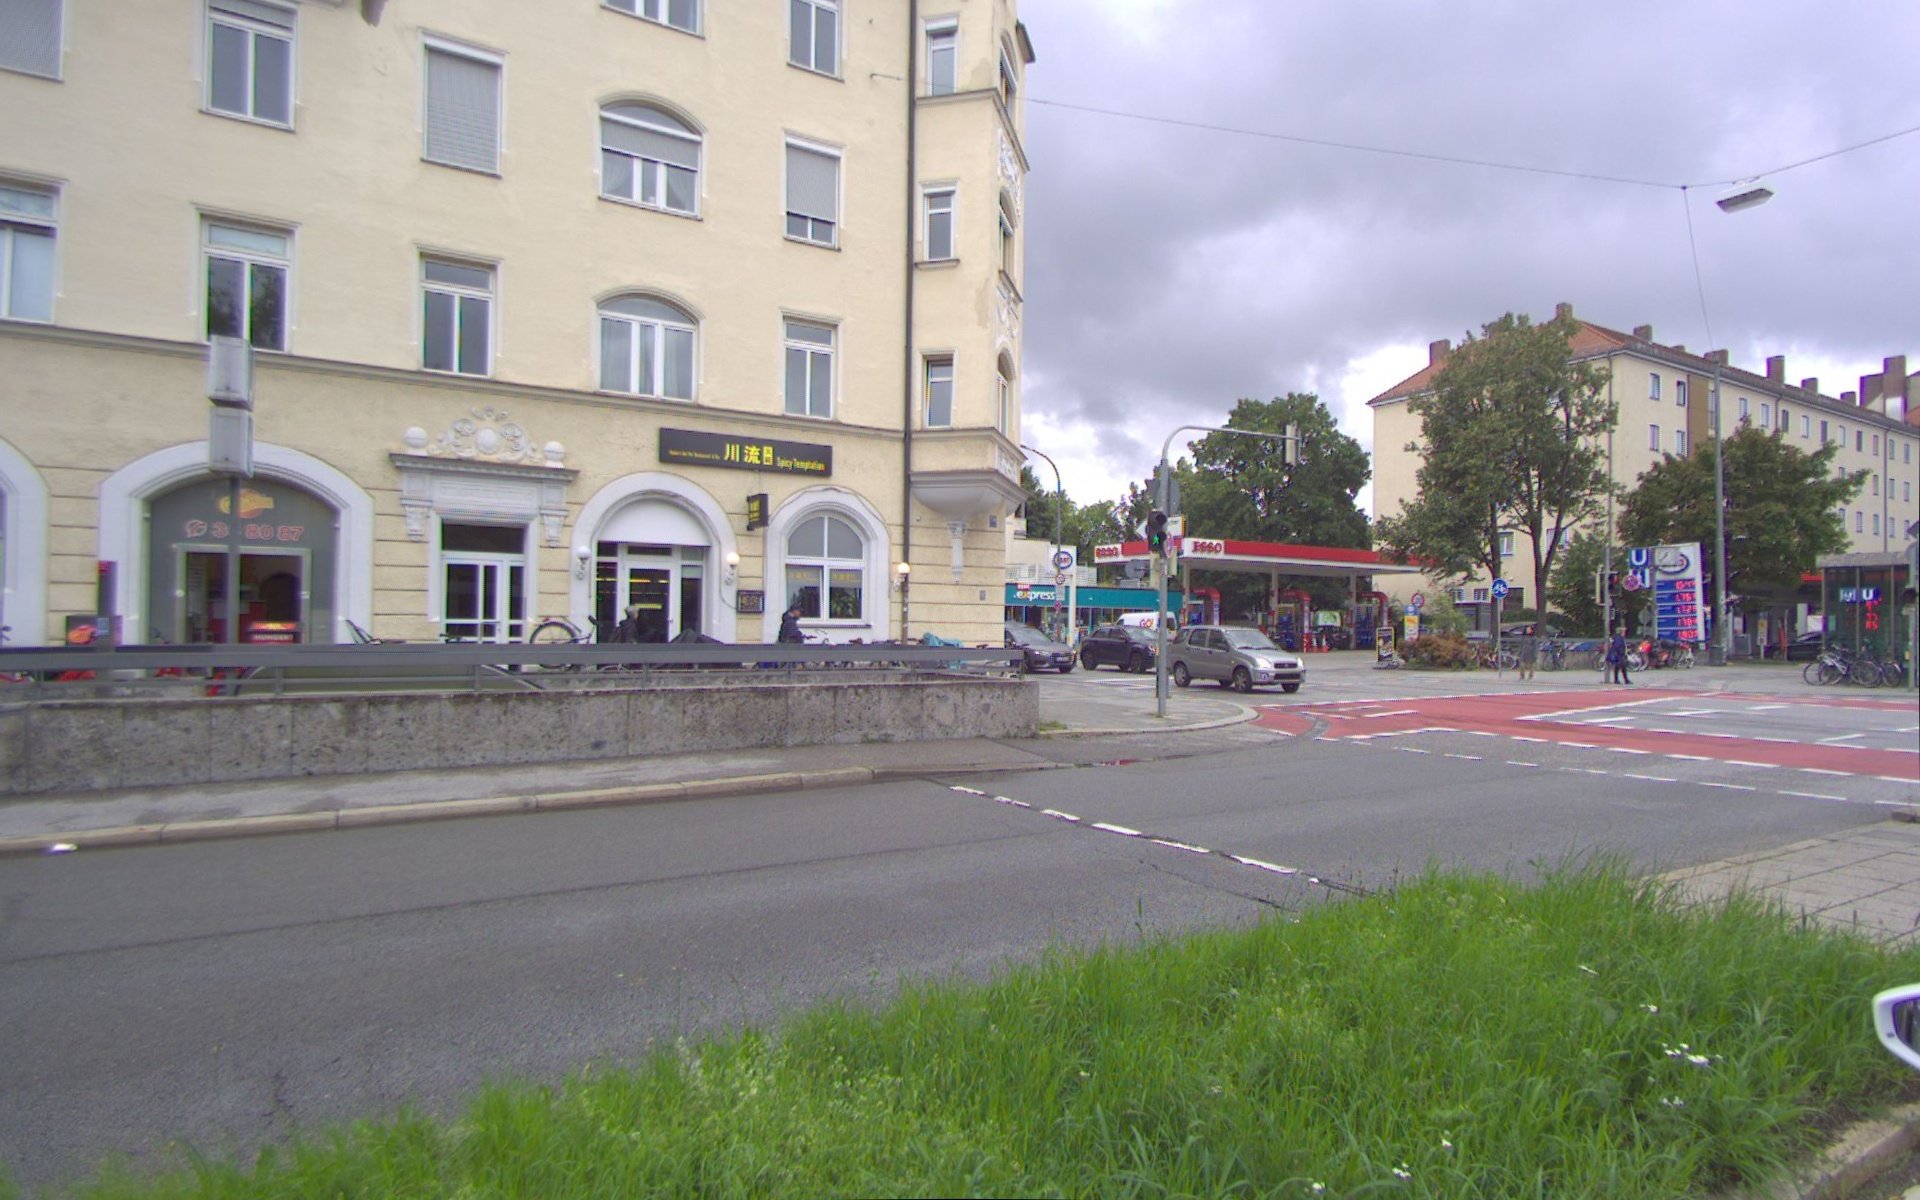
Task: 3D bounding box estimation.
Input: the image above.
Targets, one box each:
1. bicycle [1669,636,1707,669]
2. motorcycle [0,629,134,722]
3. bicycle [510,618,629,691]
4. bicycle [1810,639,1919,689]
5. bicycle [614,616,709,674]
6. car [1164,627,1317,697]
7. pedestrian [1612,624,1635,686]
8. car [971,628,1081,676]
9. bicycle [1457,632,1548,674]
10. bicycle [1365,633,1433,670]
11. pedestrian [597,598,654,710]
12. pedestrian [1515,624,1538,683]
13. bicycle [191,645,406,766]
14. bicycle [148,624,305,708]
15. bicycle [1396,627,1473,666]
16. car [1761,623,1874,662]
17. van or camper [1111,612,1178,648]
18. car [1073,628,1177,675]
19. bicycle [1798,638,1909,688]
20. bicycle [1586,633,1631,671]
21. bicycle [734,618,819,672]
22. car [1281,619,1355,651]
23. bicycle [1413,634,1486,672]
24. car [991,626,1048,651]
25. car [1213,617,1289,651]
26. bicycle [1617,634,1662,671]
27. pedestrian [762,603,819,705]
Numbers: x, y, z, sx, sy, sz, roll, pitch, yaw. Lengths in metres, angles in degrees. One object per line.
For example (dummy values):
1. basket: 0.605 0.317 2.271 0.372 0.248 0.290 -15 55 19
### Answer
1. bicycle: 26.811 1.925 36.971 1.947 1.160 0.603 1 -1 -37
2. motorcycle: -12.112 0.977 13.345 1.947 1.137 0.610 1 -1 10
3. bicycle: -5.561 0.768 14.324 1.527 0.993 0.470 1 -1 -30
4. bicycle: 25.889 1.808 28.777 0.685 1.322 2.275 1 -1 -28
5. bicycle: -5.251 0.781 17.714 1.527 0.993 0.470 1 -1 -30
6. car: 6.723 1.445 24.431 1.642 1.537 3.608 1 -1 -25
7. pedestrian: 18.762 1.545 28.414 0.527 1.717 0.575 0 -1 34
8. car: 2.095 1.679 33.211 1.643 1.430 4.299 1 -1 -27
9. bicycle: 18.466 1.787 34.241 2.664 1.267 0.792 2 0 30
10. bicycle: 15.911 1.850 36.450 0.759 1.252 2.162 1 -1 -39
11. pedestrian: -5.304 0.845 15.907 0.761 1.719 0.540 1 -1 -29
12. pedestrian: 16.755 1.567 29.721 0.581 1.717 0.576 0 -1 29
13. bicycle: -6.722 1.035 10.272 1.798 1.130 0.392 1 -1 -39
14. bicycle: -9.180 0.810 12.631 1.527 0.993 0.470 1 -1 -30
15. bicycle: 16.984 1.649 36.008 0.785 1.267 2.374 2 0 -40
16. car: 43.177 2.124 50.648 1.860 1.862 3.965 1 -1 -32
17. van or camper: 12.565 2.035 68.680 1.899 2.354 4.508 1 -1 -34
18. car: 5.400 1.659 33.233 1.643 1.430 3.534 1 -1 -27
19. bicycle: 25.216 1.752 28.404 0.695 1.322 2.262 1 -1 -28
20. bicycle: 22.438 1.787 34.725 2.167 1.252 0.603 1 -1 -37
21. bicycle: -3.498 0.845 19.178 1.527 0.993 0.470 1 -1 -30
22. car: 21.615 2.095 60.756 1.836 1.808 3.968 1 -1 -30
23. bicycle: 16.927 1.815 34.808 0.760 1.252 2.161 1 -1 -41
24. car: 3.847 2.497 65.764 1.848 1.598 3.967 1 -1 -31
25. car: 16.392 1.892 56.678 1.836 1.808 3.968 1 -1 -30
26. bicycle: 23.424 1.799 34.620 2.167 1.252 0.603 1 -1 -37
27. pedestrian: -2.902 0.915 17.219 0.928 1.719 0.592 1 -1 -9
